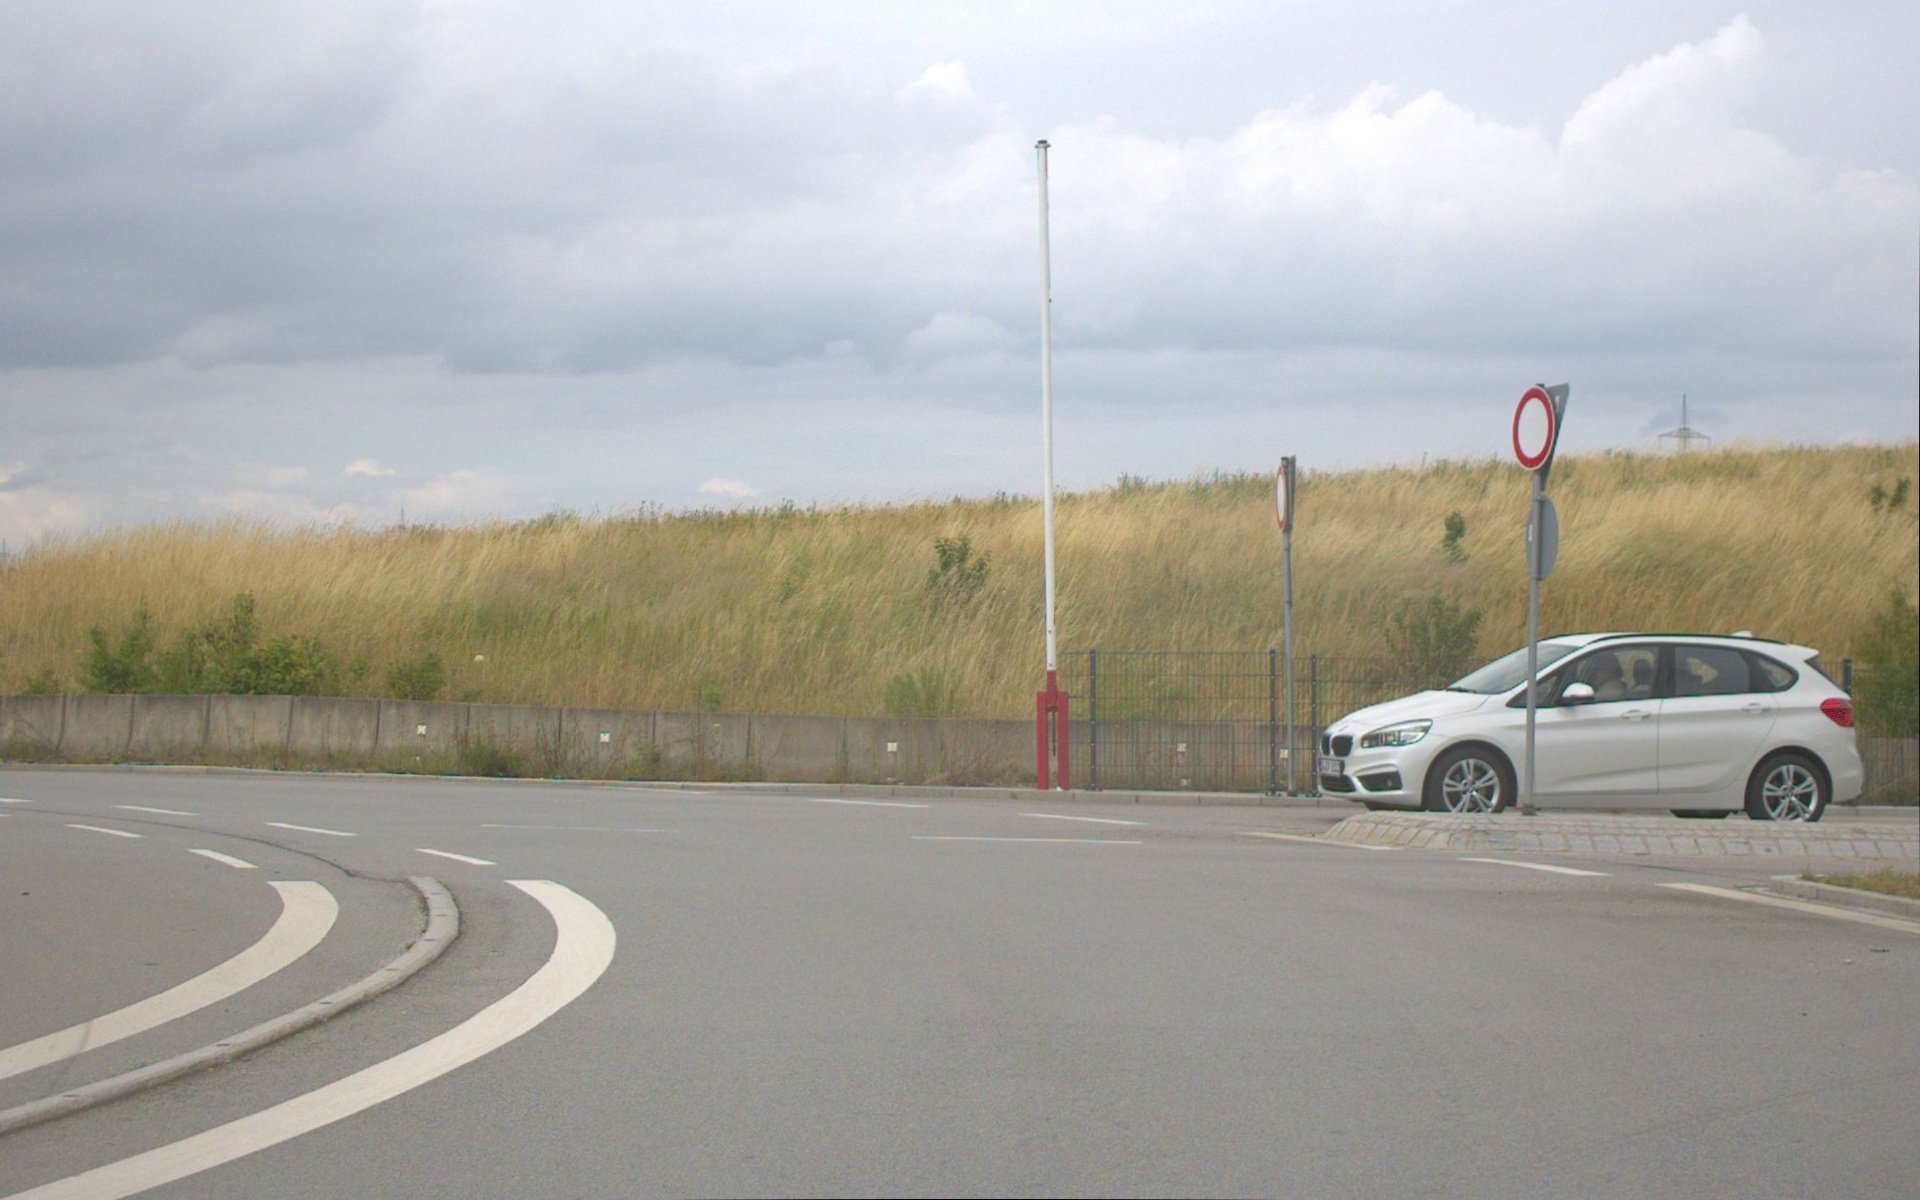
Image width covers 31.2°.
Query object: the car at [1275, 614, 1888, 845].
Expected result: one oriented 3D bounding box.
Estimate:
[{"bbox_3d":[4.931,1.024,27.476,4.411,1.623,1.785,2,1,-12],"label":"car"}]
